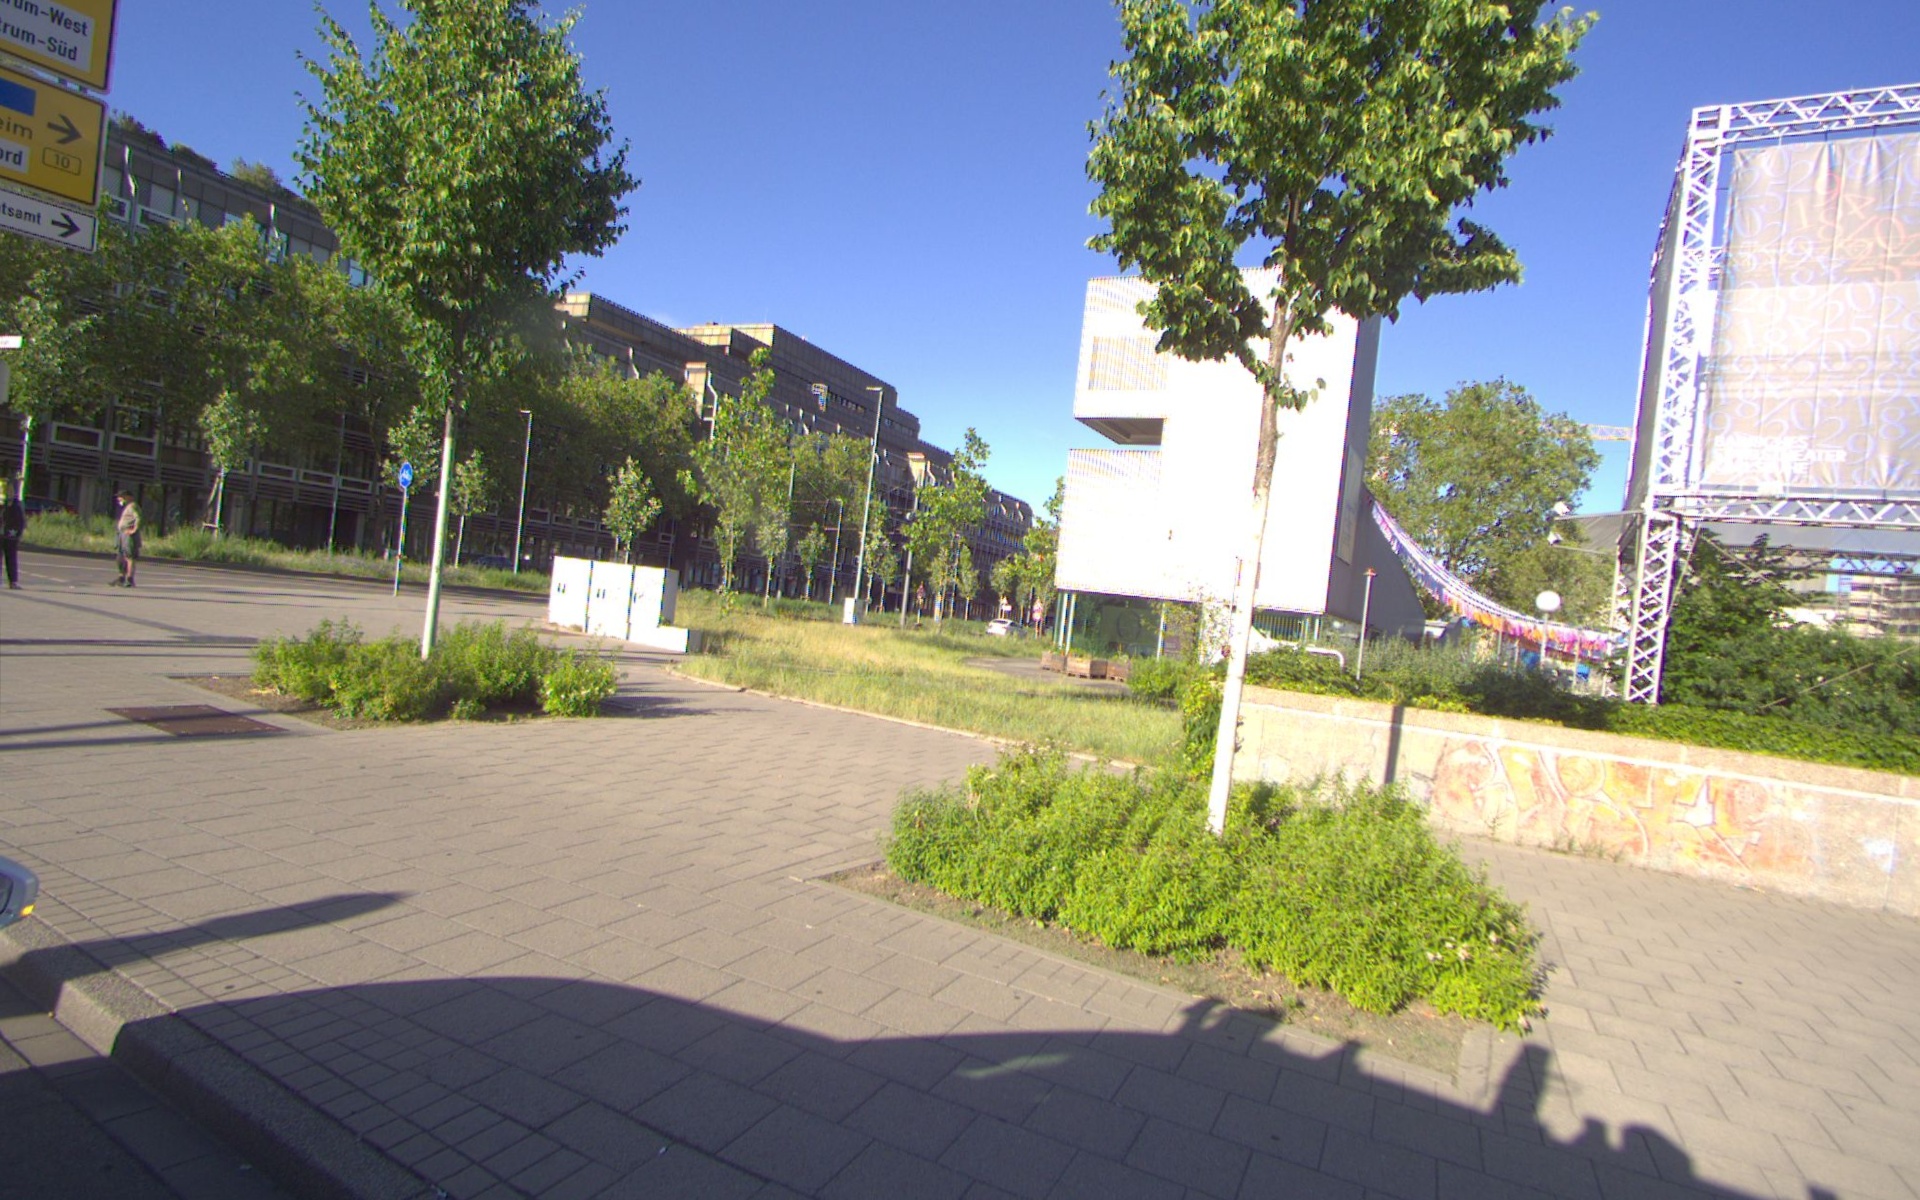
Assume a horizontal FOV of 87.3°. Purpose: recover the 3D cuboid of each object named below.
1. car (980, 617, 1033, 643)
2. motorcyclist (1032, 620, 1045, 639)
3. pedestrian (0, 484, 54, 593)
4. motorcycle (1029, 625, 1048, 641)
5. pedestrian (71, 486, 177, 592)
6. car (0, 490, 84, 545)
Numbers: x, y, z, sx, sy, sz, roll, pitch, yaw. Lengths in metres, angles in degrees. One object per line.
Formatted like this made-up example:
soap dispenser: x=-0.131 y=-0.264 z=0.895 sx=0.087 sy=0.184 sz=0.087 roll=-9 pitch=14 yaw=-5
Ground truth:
car: x=3.340 y=2.145 z=71.439 sx=1.820 sy=1.437 sz=4.956 roll=7 pitch=-1 yaw=26
motorcyclist: x=5.511 y=2.051 z=70.320 sx=0.551 sy=1.263 sz=0.727 roll=7 pitch=0 yaw=26
pedestrian: x=-14.042 y=-0.924 z=14.787 sx=0.633 sy=1.510 sz=0.789 roll=6 pitch=-1 yaw=31
motorcycle: x=5.477 y=2.331 z=70.326 sx=0.551 sy=0.970 sz=2.080 roll=7 pitch=0 yaw=25
pedestrian: x=-14.895 y=-1.068 z=17.945 sx=0.946 sy=1.684 sz=0.882 roll=7 pitch=-1 yaw=11
car: x=-33.277 y=-2.995 z=34.915 sx=1.629 sy=1.604 sz=3.896 roll=6 pitch=-1 yaw=24
